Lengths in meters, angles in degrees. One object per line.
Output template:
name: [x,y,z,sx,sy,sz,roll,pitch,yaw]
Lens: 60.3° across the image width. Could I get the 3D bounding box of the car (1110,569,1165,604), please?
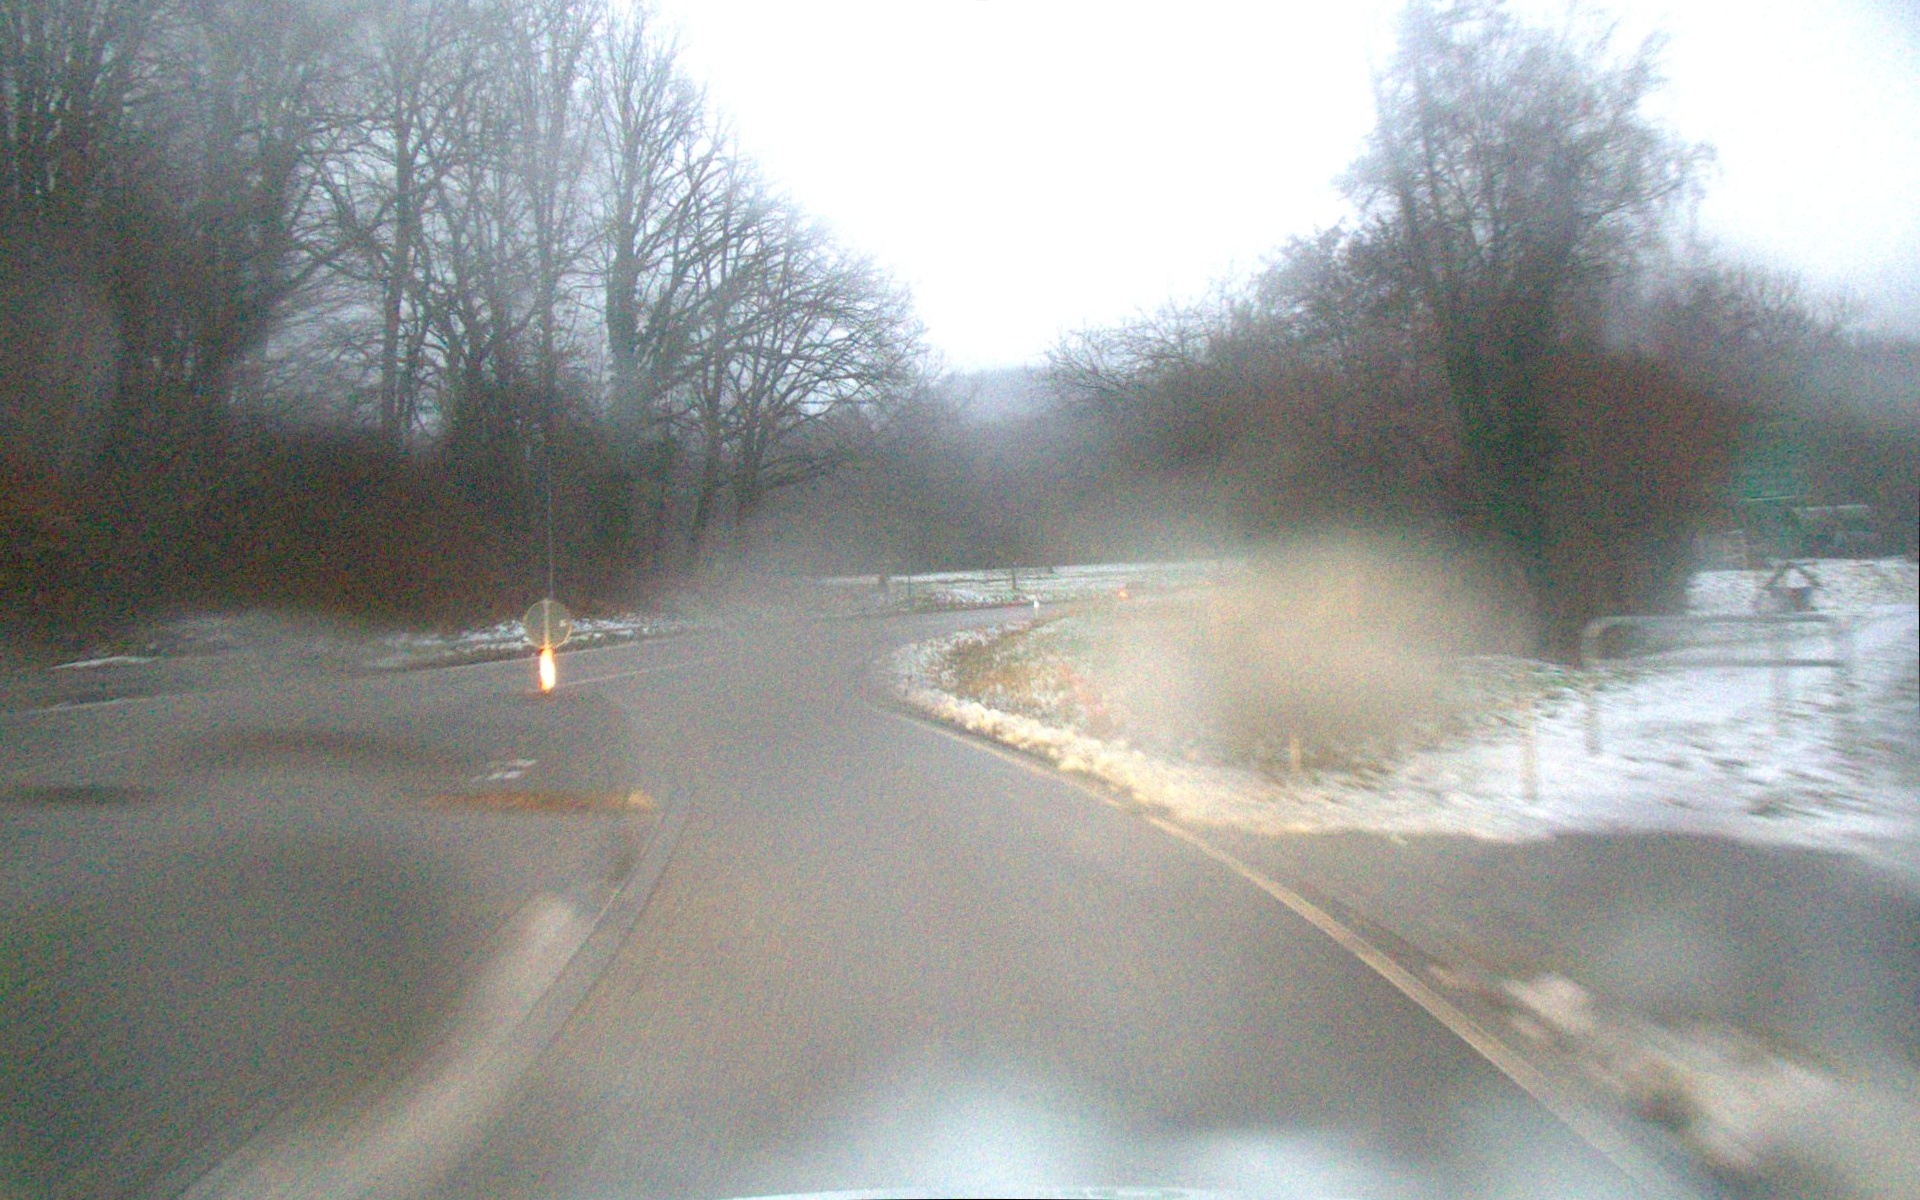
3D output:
car: [9.420,-0.711,87.469,1.893,1.812,4.000,0,1,22]
